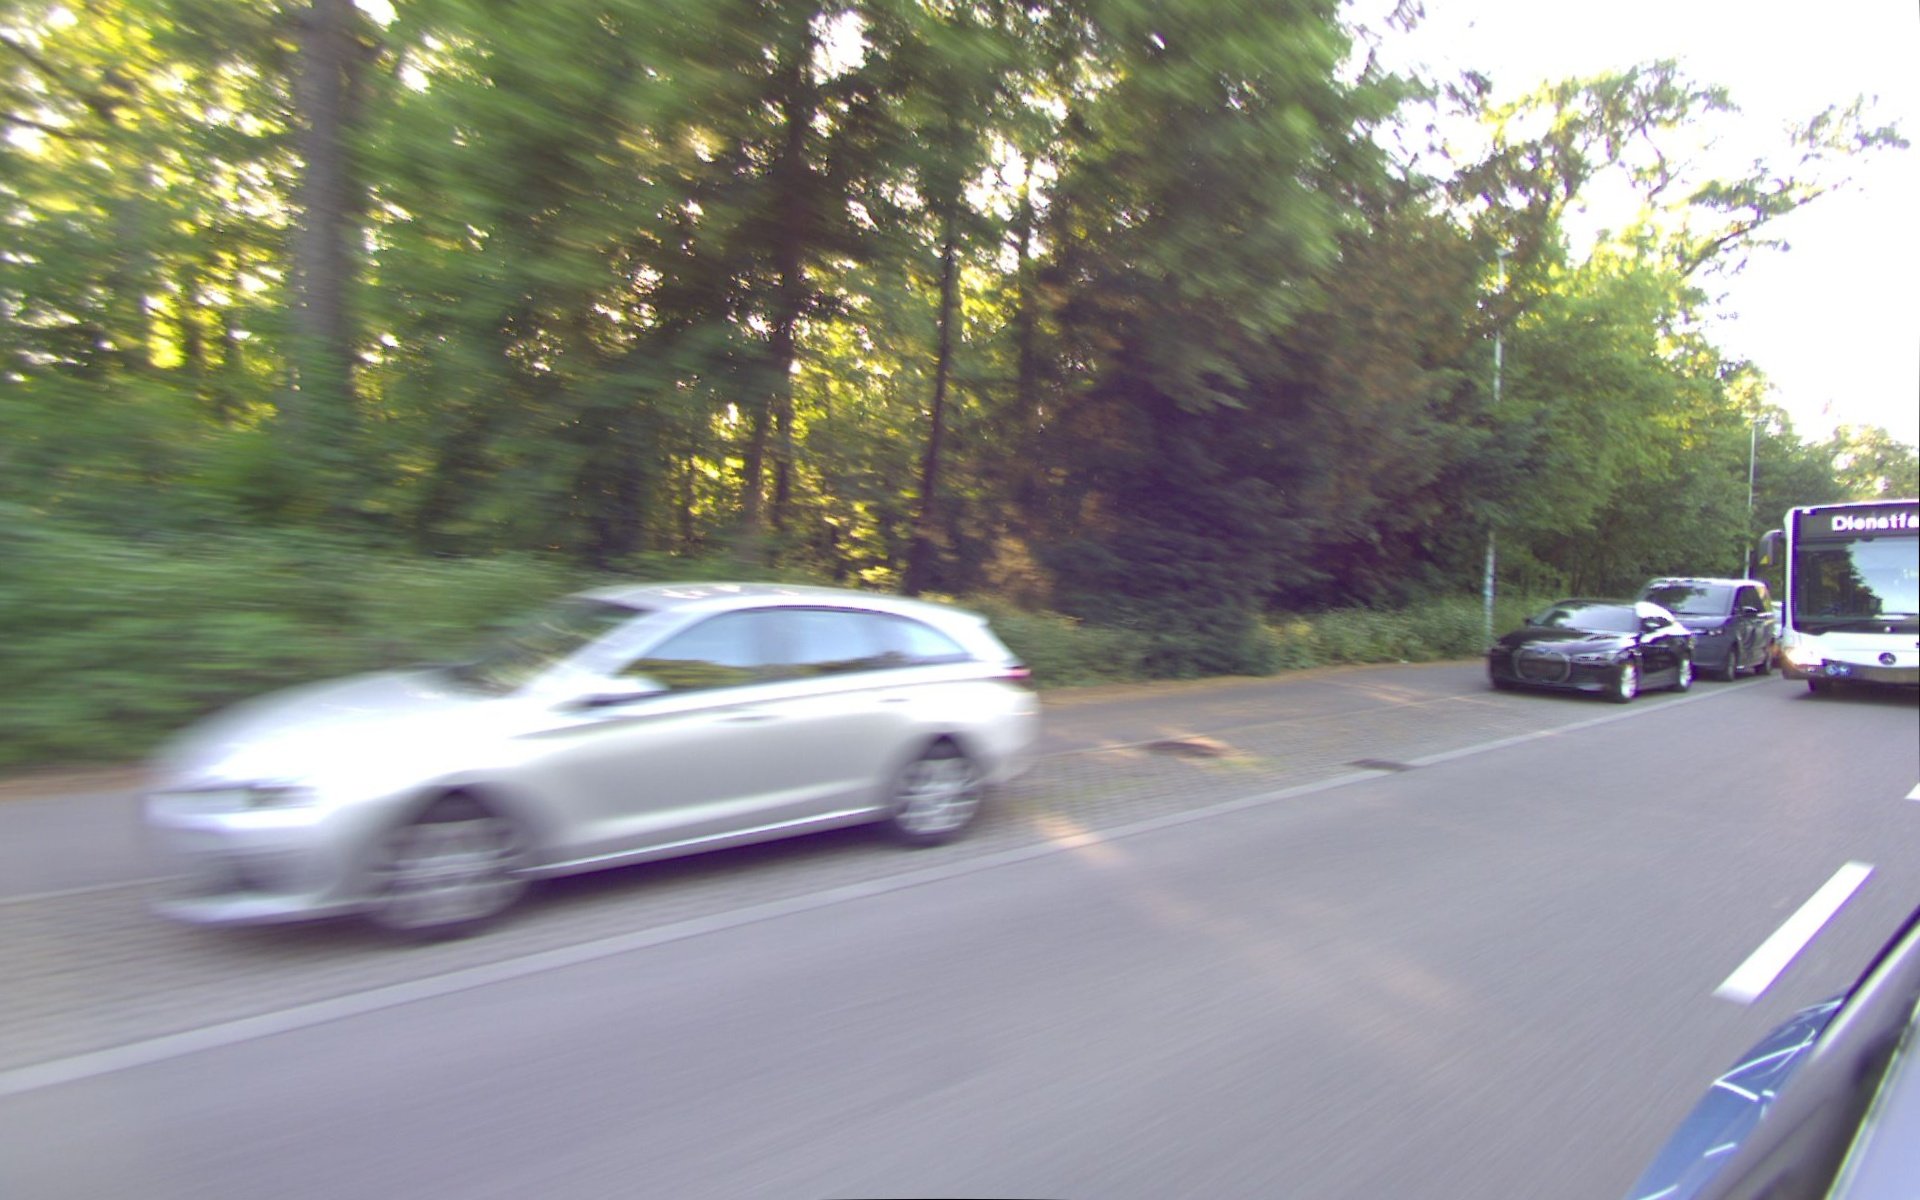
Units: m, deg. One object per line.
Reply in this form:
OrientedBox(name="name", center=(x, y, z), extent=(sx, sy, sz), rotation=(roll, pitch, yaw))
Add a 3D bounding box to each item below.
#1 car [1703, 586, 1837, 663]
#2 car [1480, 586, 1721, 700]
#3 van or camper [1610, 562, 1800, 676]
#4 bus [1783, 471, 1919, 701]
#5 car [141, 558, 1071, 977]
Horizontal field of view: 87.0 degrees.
OrientedBox(name="car", center=(19.103, 0.513, 23.810), extent=(4.144, 1.562, 1.731), rotation=(0, 3, -42))
OrientedBox(name="car", center=(10.260, 0.583, 16.046), extent=(4.870, 1.459, 1.843), rotation=(0, 3, -41))
OrientedBox(name="van or camper", center=(14.942, 0.311, 20.175), extent=(5.043, 1.972, 1.897), rotation=(0, 2, -40))
OrientedBox(name="bus", center=(17.953, -0.218, 18.629), extent=(12.071, 3.262, 2.707), rotation=(0, 1, -43))
OrientedBox(name="car", center=(-1.613, 0.557, 5.651), extent=(4.583, 1.459, 1.732), rotation=(0, 1, -39))
